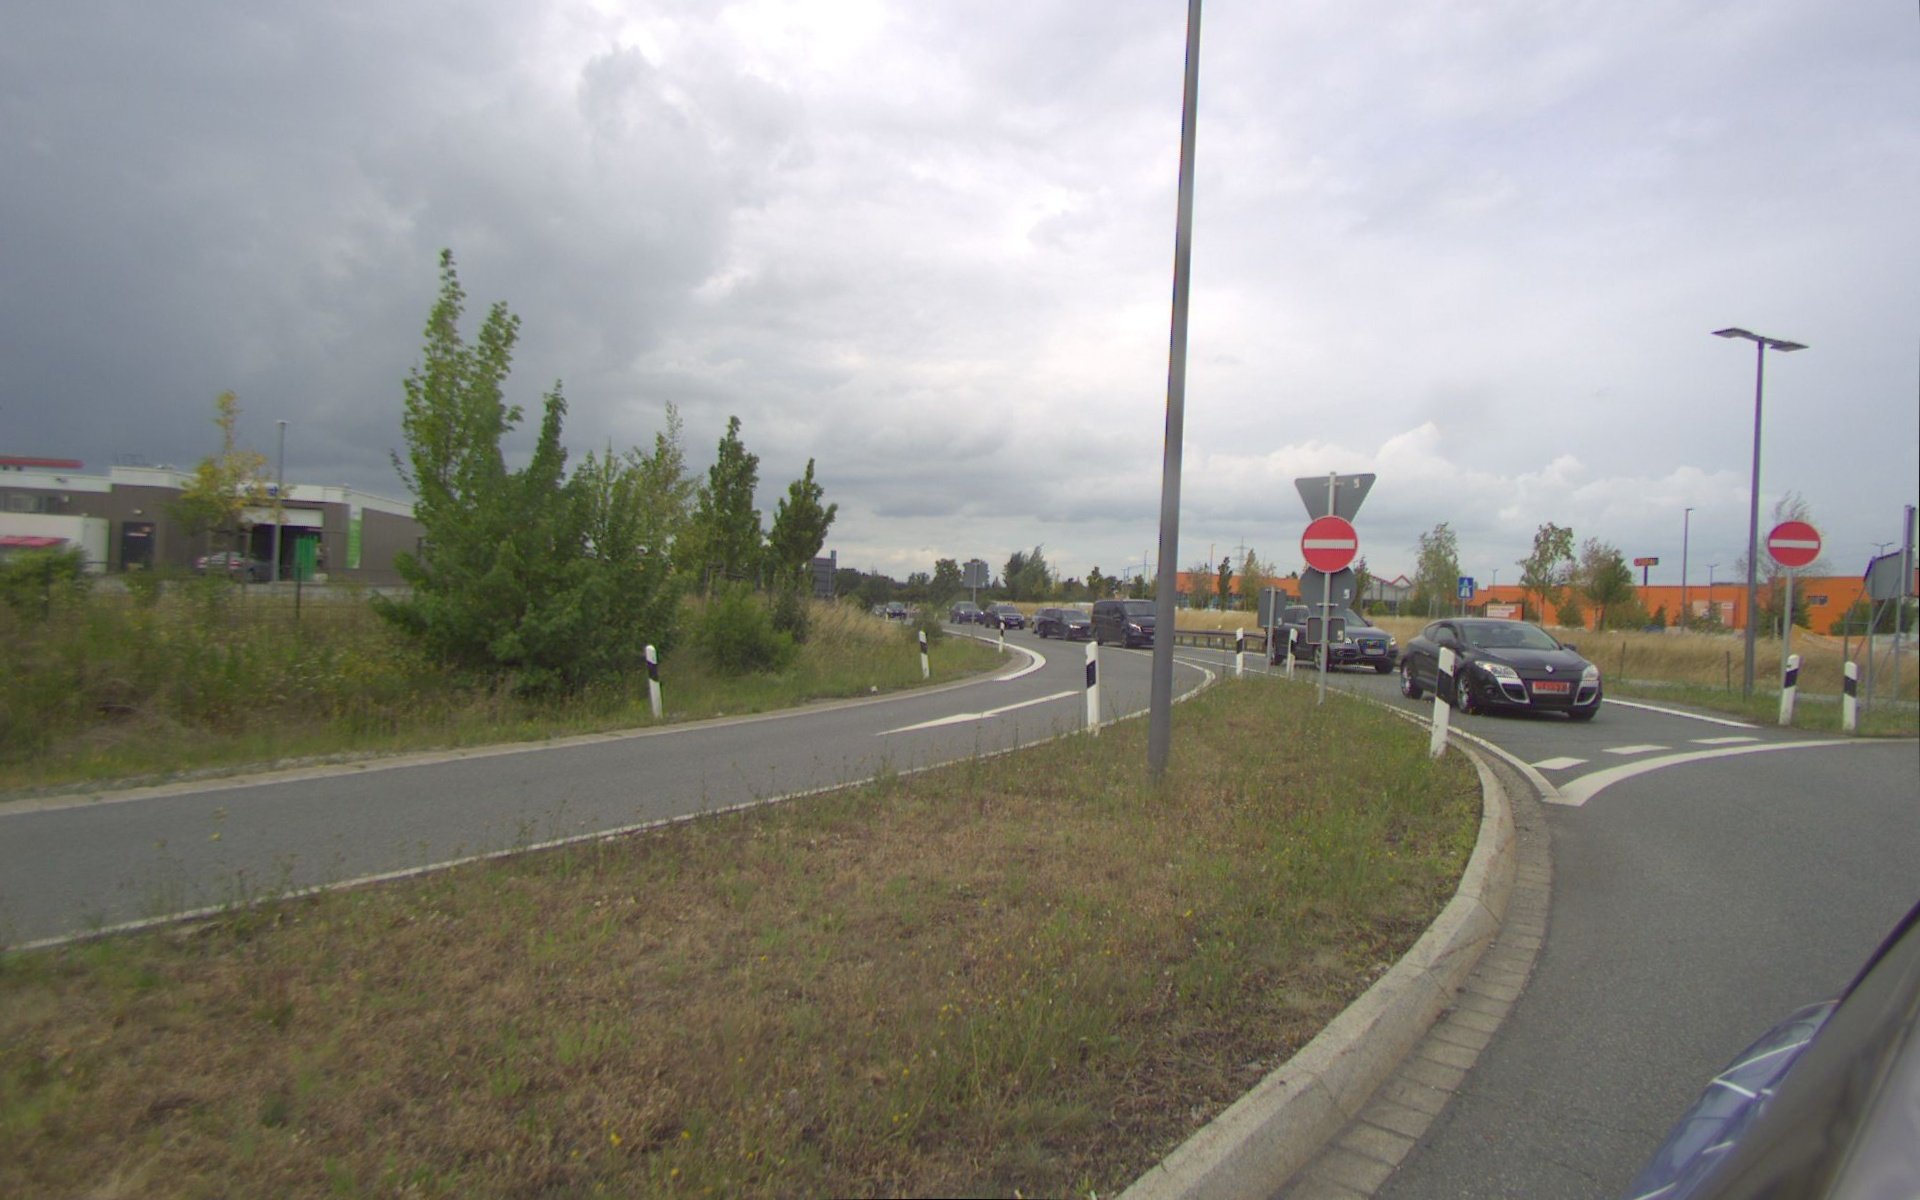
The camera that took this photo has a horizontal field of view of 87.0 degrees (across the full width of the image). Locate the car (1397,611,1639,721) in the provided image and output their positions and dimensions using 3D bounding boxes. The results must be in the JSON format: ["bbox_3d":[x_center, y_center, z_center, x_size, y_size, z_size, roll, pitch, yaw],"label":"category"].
[{"bbox_3d":[8.419,0.909,15.736,1.812,1.387,4.137,1,0,7],"label":"car"}]

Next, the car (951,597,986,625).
[{"bbox_3d":[0.593,0.800,73.205,1.726,1.906,4.007,2,0,-12],"label":"car"}]

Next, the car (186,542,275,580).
[{"bbox_3d":[-30.998,-1.617,43.147,1.635,1.449,4.008,2,0,-13],"label":"car"}]

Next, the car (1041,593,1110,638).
[{"bbox_3d":[5.195,0.667,46.200,1.768,1.906,4.008,2,0,-14],"label":"car"}]

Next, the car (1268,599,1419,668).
[{"bbox_3d":[9.773,0.791,26.183,1.846,1.603,4.282,1,0,-7],"label":"car"}]

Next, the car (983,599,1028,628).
[{"bbox_3d":[2.769,0.788,62.634,1.726,1.685,4.008,2,0,-13],"label":"car"}]

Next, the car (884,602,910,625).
[{"bbox_3d":[-5.508,1.153,87.763,1.727,1.906,4.007,2,0,-10],"label":"car"}]

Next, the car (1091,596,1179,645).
[{"bbox_3d":[6.608,0.735,38.744,1.686,1.743,4.754,1,0,-11],"label":"car"}]
